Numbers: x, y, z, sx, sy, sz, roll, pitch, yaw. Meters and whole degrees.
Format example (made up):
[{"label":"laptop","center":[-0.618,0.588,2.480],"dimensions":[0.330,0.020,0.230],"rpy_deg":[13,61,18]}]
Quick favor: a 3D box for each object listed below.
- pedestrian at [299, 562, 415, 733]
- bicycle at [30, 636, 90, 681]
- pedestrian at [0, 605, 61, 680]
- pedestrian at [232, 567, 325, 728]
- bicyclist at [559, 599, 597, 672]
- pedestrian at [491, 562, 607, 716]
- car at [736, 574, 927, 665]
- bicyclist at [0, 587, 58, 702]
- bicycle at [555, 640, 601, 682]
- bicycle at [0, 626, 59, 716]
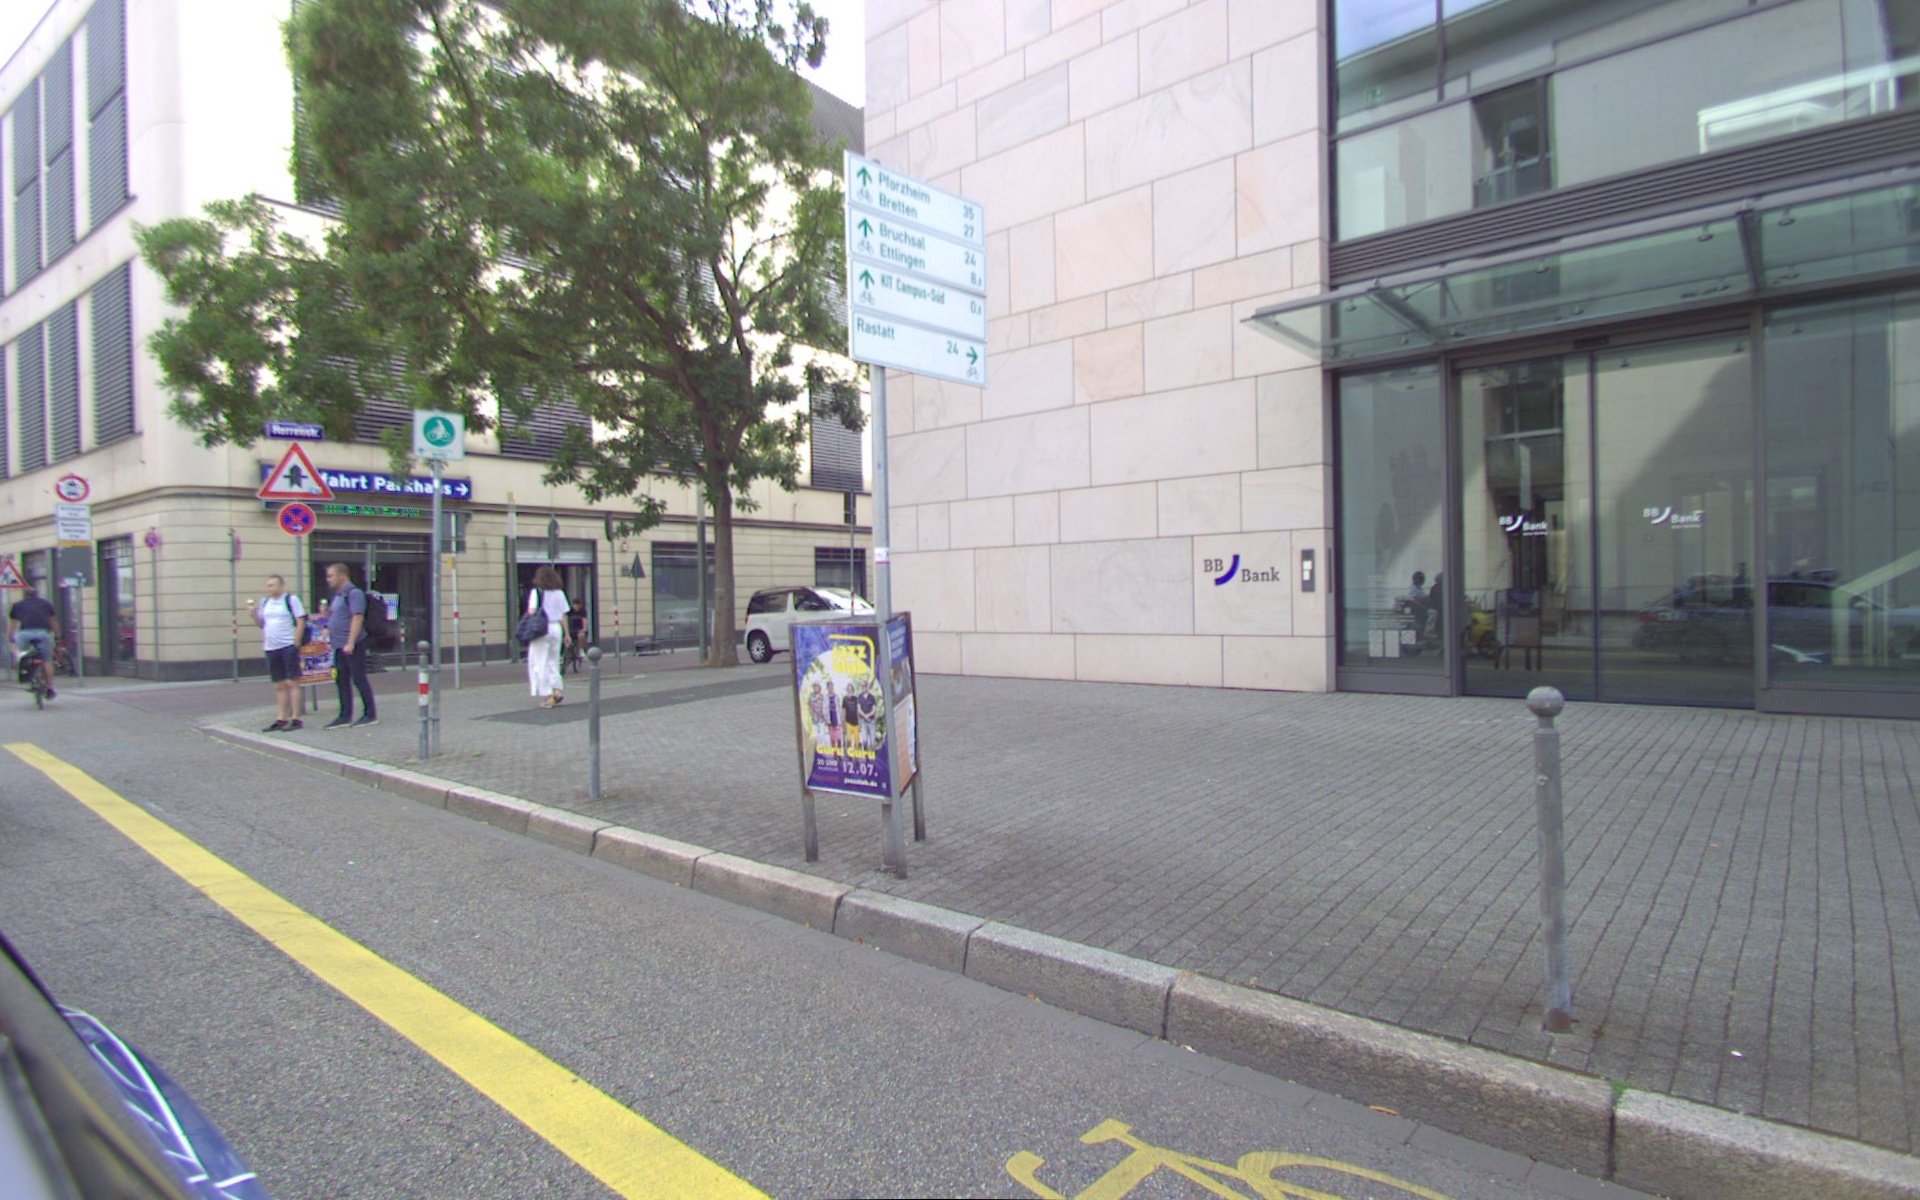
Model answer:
[{"label":"pedestrian","center":[-6.818,0.519,11.457],"dimensions":[0.753,1.827,0.738],"rpy_deg":[-2,3,29]},{"label":"bicycle","center":[-23.408,1.499,26.300],"dimensions":[2.539,1.052,0.684],"rpy_deg":[-1,0,37]},{"label":"pedestrian","center":[-23.412,1.048,25.417],"dimensions":[1.058,1.778,0.883],"rpy_deg":[-1,3,34]},{"label":"pedestrian","center":[-7.796,0.529,11.584],"dimensions":[0.651,1.778,0.637],"rpy_deg":[-2,0,29]},{"label":"bicyclist","center":[-8.903,0.821,23.592],"dimensions":[0.613,1.631,0.645],"rpy_deg":[-3,1,-9]},{"label":"pedestrian","center":[-4.942,0.442,12.168],"dimensions":[0.909,1.721,0.868],"rpy_deg":[-1,4,40]},{"label":"car","center":[-2.892,0.466,22.473],"dimensions":[3.957,1.706,1.876],"rpy_deg":[-5,-3,37]},{"label":"bicyclist","center":[-13.989,0.656,15.155],"dimensions":[0.635,1.666,0.940],"rpy_deg":[3,-3,-44]},{"label":"bicycle","center":[-8.869,1.402,23.554],"dimensions":[0.592,0.840,1.728],"rpy_deg":[-5,1,-9]},{"label":"bicycle","center":[-13.992,1.030,15.150],"dimensions":[0.639,1.250,1.954],"rpy_deg":[3,-3,-44]}]
